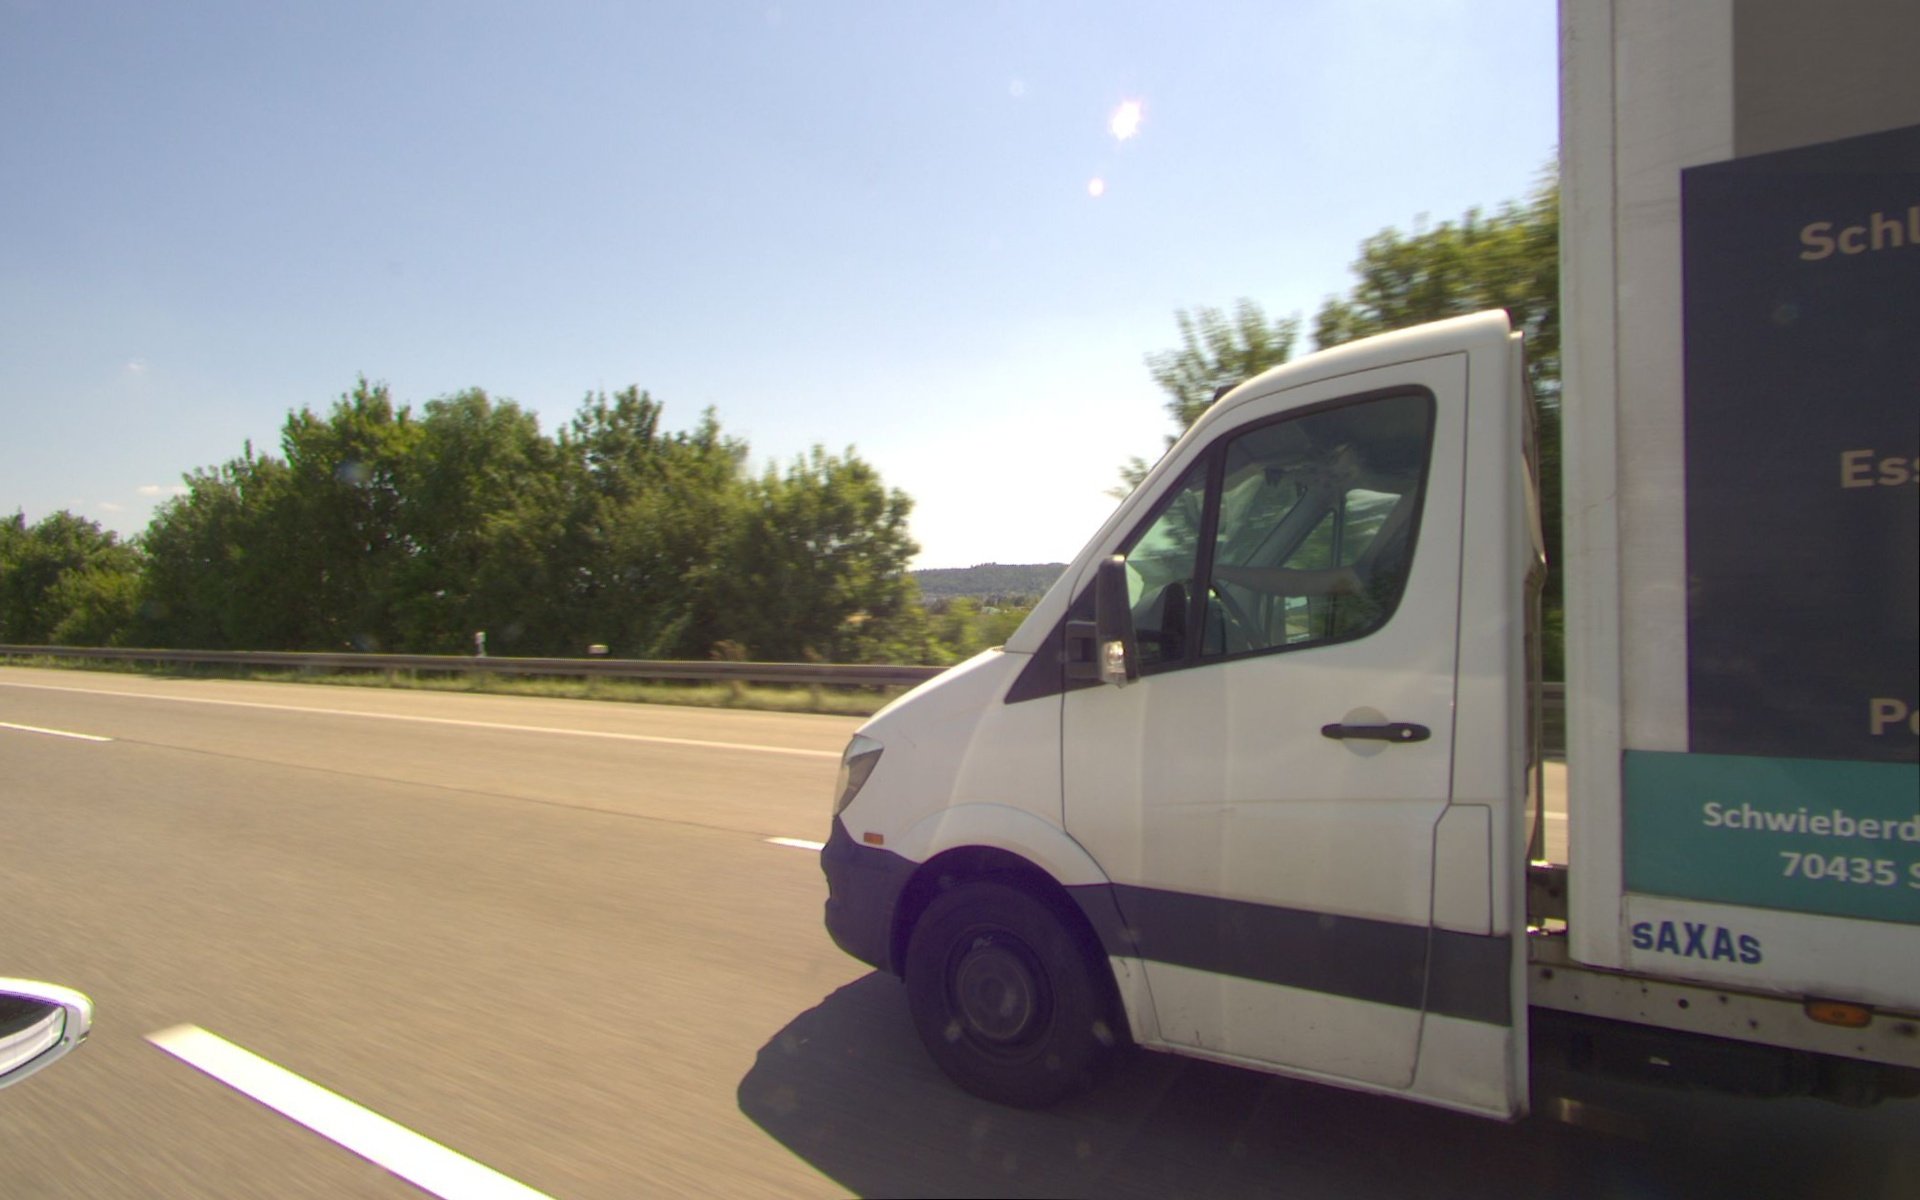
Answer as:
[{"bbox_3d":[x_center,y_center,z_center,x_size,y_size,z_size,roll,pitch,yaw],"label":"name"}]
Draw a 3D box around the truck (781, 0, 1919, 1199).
[{"bbox_3d":[2.841,-0.036,2.498,6.654,3.107,2.317,0,-1,32],"label":"truck"}]
